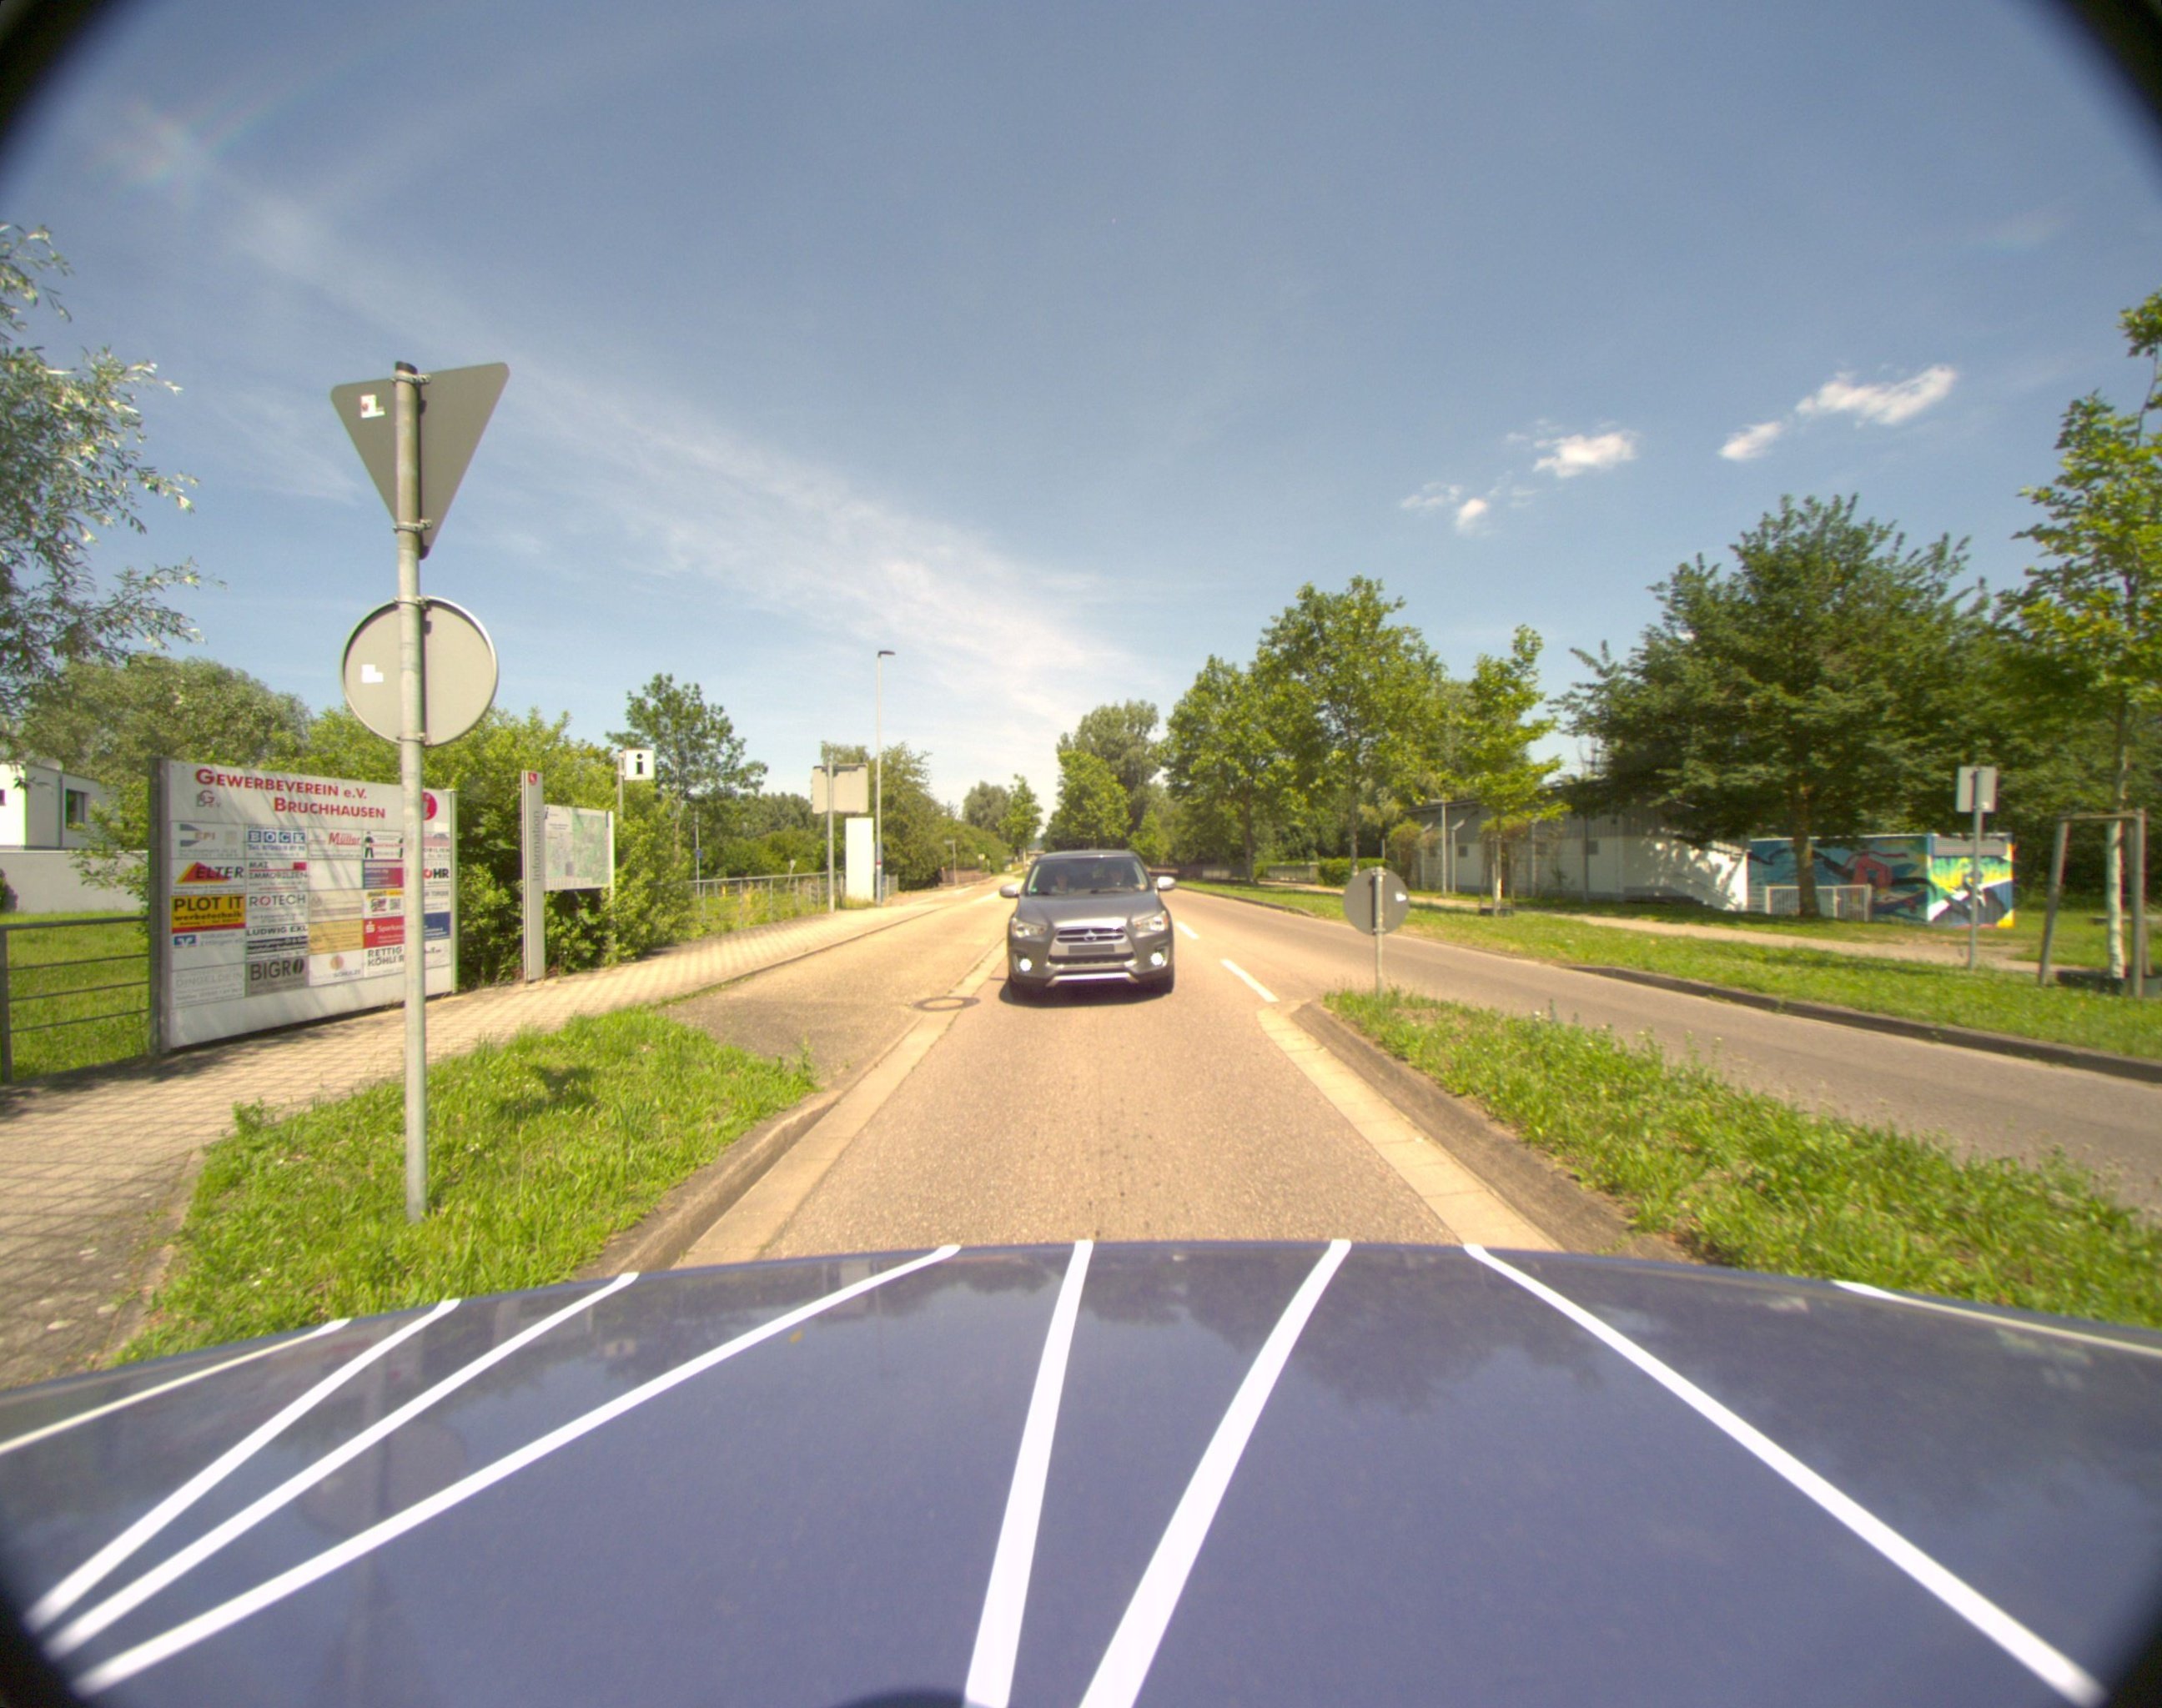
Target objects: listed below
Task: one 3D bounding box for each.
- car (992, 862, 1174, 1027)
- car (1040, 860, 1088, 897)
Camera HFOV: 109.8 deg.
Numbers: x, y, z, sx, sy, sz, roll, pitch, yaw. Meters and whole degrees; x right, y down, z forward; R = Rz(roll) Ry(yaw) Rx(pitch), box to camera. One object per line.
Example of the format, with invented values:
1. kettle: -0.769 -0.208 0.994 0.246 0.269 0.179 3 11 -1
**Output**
1. car: -0.119 0.895 9.647 1.750 1.525 4.523 -1 0 -4
2. car: -0.762 0.967 31.551 1.677 1.342 3.829 -2 0 -5
